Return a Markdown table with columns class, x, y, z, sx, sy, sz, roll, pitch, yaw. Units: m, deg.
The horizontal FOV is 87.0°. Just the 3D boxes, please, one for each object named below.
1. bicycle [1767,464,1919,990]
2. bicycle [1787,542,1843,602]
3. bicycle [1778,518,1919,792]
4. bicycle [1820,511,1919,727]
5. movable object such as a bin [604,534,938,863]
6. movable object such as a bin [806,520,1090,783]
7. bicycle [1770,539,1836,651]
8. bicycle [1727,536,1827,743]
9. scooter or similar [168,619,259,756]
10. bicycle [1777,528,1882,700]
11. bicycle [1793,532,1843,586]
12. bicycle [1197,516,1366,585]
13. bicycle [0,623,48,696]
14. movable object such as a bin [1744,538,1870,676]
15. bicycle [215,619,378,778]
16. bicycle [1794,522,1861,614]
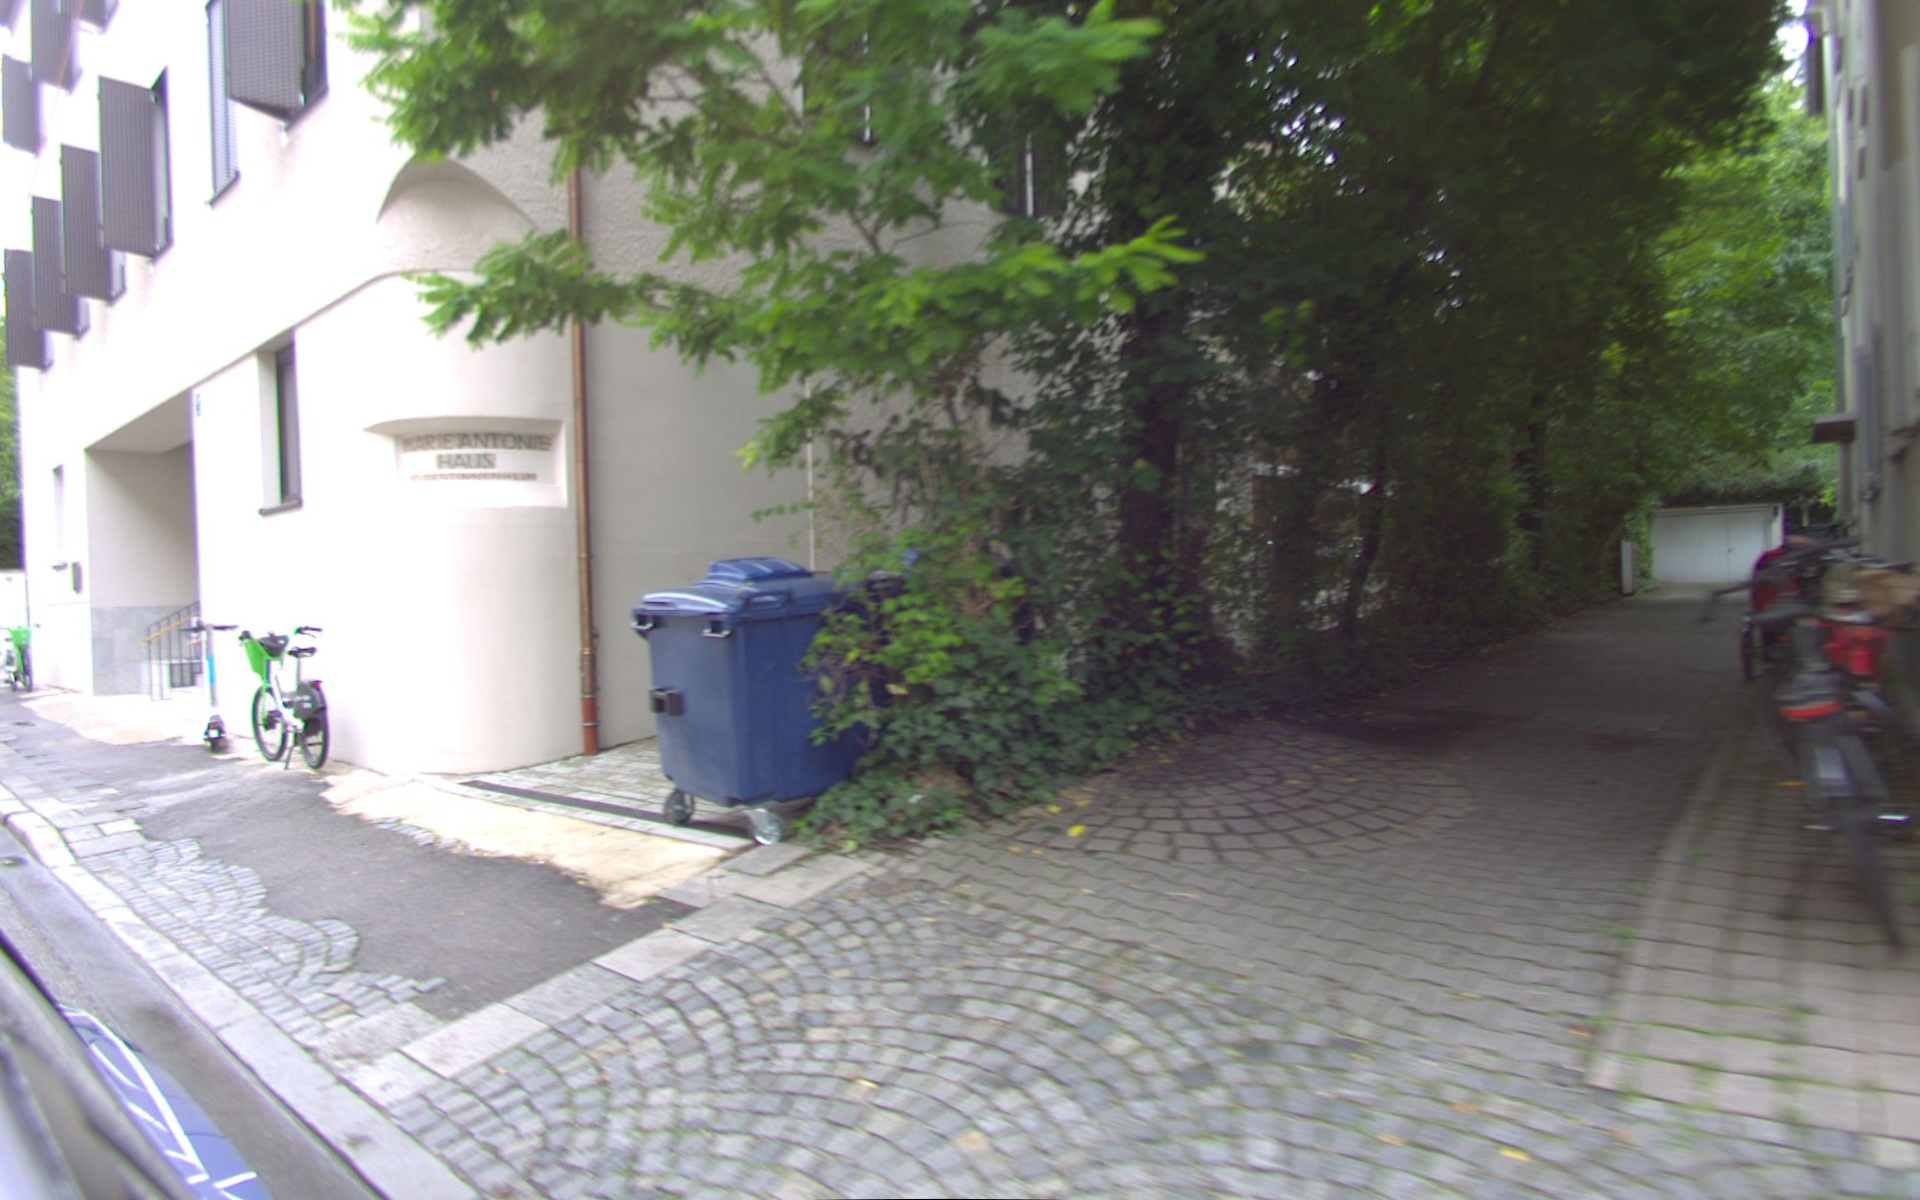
| class | x | y | z | sx | sy | sz | roll | pitch | yaw |
| --- | --- | --- | --- | --- | --- | --- | --- | --- | --- |
| bicycle | 3.038 | 0.247 | 3.355 | 0.513 | 1.308 | 2.179 | -1 | 3 | 39 |
| bicycle | 16.682 | -0.534 | 19.792 | 0.774 | 1.093 | 2.870 | -1 | 0 | 39 |
| bicycle | 4.418 | 0.204 | 5.007 | 0.532 | 1.142 | 1.780 | -1 | 1 | 38 |
| bicycle | 5.756 | 0.083 | 6.417 | 0.382 | 1.212 | 1.616 | -1 | 1 | 38 |
| movable object such as a bin | -1.034 | 0.452 | 5.514 | 1.161 | 1.452 | 1.250 | -9 | 4 | -43 |
| movable object such as a bin | -0.071 | 0.279 | 6.491 | 1.248 | 1.415 | 1.162 | -3 | 4 | 42 |
| bicycle | 9.795 | -0.079 | 11.786 | 0.532 | 1.204 | 1.921 | -1 | 1 | 39 |
| bicycle | 5.416 | 0.210 | 6.728 | 0.447 | 1.212 | 1.637 | -1 | 1 | 38 |
| scooter or similar | -7.160 | 0.797 | 9.754 | 0.544 | 1.152 | 1.362 | -4 | 3 | -33 |
| bicycle | 6.758 | 0.073 | 7.919 | 0.532 | 1.204 | 1.780 | -1 | 1 | 38 |
| bicycle | 18.781 | -0.875 | 22.184 | 0.774 | 1.093 | 2.870 | -1 | 0 | 39 |
| bicycle | 6.773 | -1.004 | 21.513 | 3.242 | 1.307 | 1.142 | -1 | 0 | 41 |
| bicycle | -16.039 | 0.987 | 17.167 | 1.915 | 1.147 | 0.532 | -1 | 2 | 40 |
| movable object such as a bin | 7.606 | 0.052 | 9.089 | 0.826 | 1.168 | 0.742 | -1 | 1 | 42 |
| bicycle | -5.565 | 0.765 | 8.445 | 1.880 | 1.170 | 0.539 | -1 | 2 | 39 |
| bicycle | 13.124 | -0.482 | 15.344 | 0.531 | 1.315 | 1.924 | -1 | 1 | 34 |
